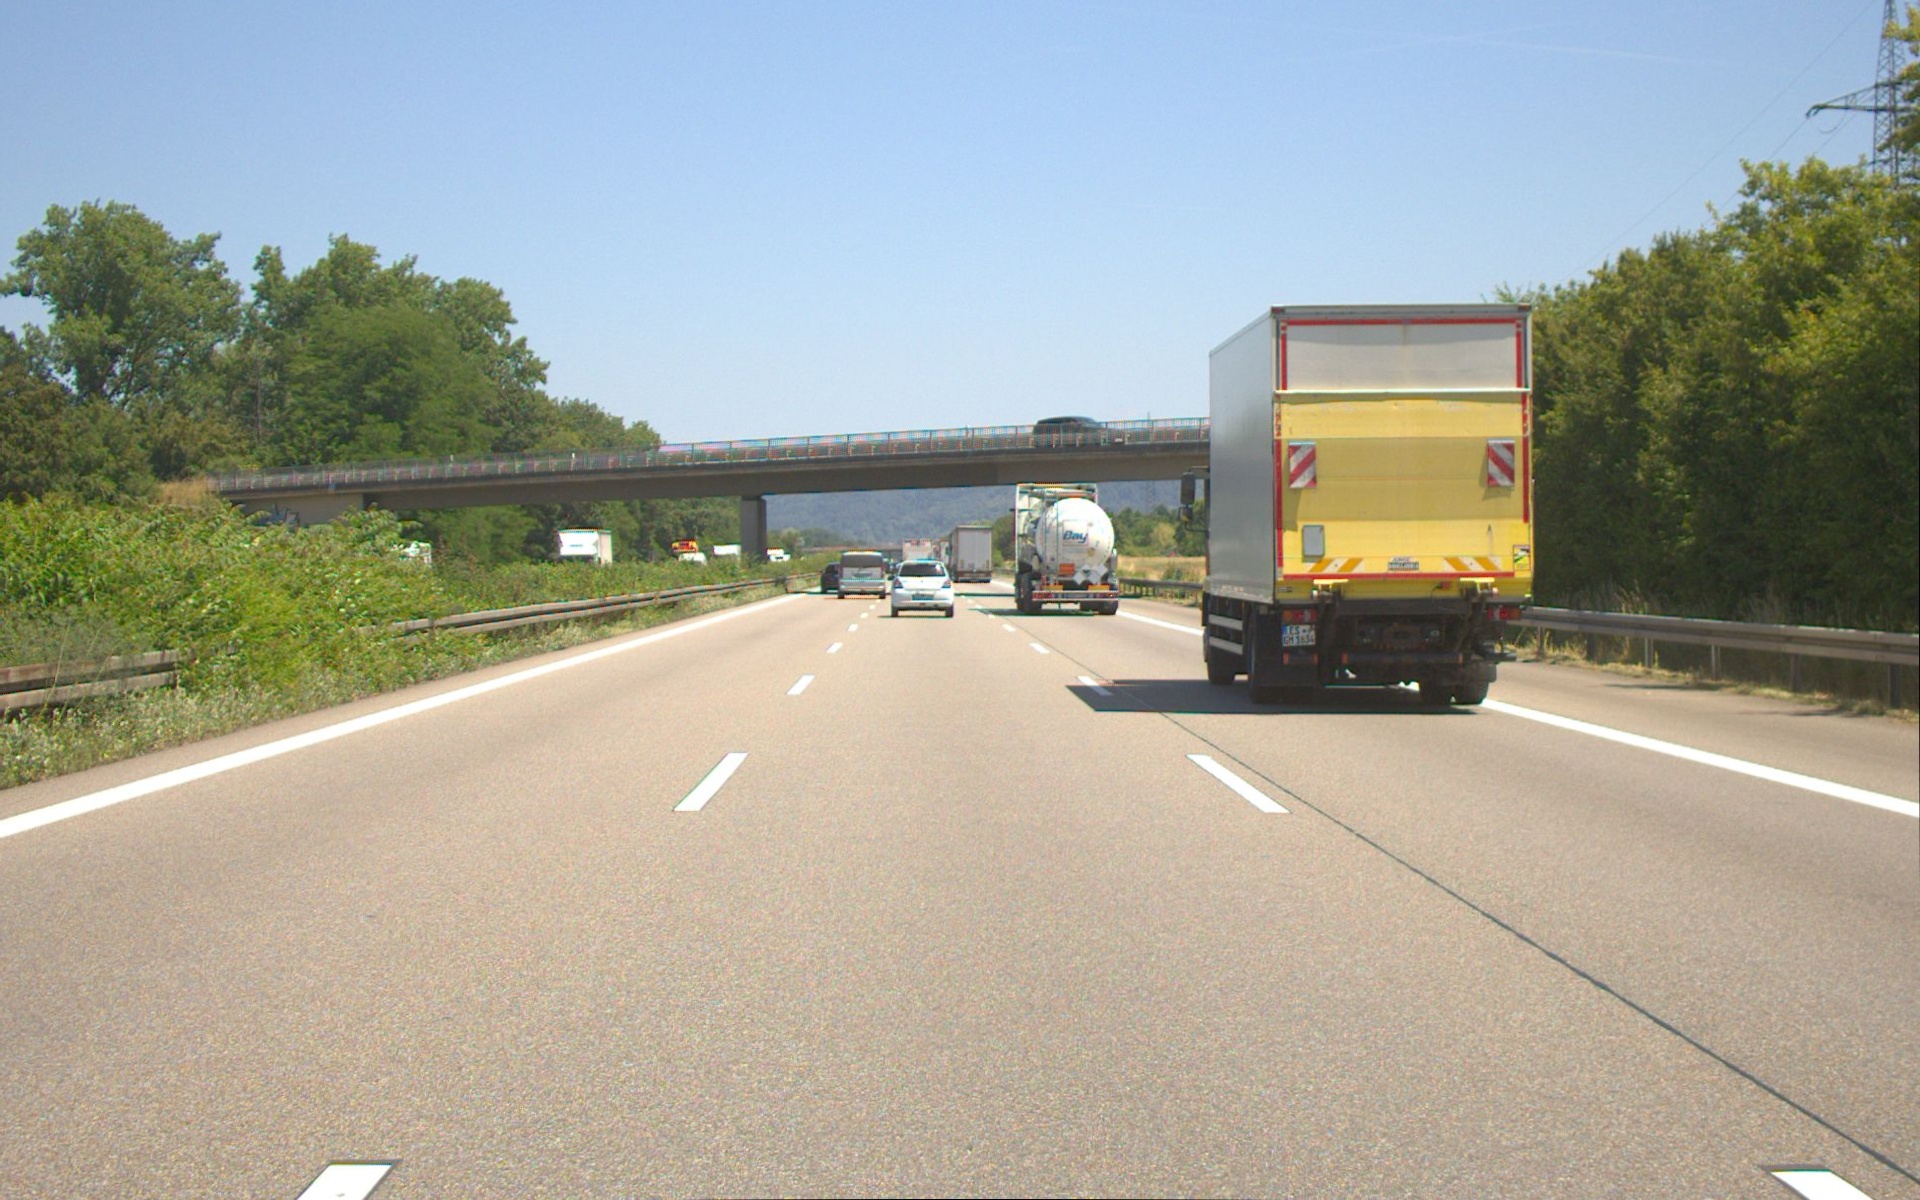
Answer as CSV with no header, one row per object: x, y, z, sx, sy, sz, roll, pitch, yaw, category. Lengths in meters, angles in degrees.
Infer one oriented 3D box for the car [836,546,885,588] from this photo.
-3.978,-1.337,137.742,1.852,1.627,4.000,1,1,0,car

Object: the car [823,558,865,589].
-5.402,-1.247,160.254,1.835,1.382,4.000,1,1,0,car

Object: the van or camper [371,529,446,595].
-21.860,-1.517,136.434,1.993,2.536,6.299,1,1,-1,van or camper

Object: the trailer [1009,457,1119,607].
2.933,-1.937,99.710,2.580,4.060,11.104,1,1,-1,trailer

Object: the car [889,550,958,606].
-0.974,-0.604,93.070,1.806,1.463,4.000,1,1,0,car

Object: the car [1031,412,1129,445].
5.326,-7.626,153.083,3.996,1.382,1.837,2,1,37,car

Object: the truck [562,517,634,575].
-22.350,-3.340,212.691,2.877,3.486,10.734,1,1,2,truck

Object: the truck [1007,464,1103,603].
2.846,-2.008,104.483,2.573,4.058,6.393,1,1,-1,truck

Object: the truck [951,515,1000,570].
1.083,-4.160,249.798,3.265,3.844,11.632,1,1,-1,truck

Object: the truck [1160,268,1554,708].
4.133,-1.154,38.458,2.933,4.185,10.682,1,1,-1,truck

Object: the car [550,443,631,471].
-19.374,-7.500,180.301,3.995,1.382,1.838,2,1,34,car
